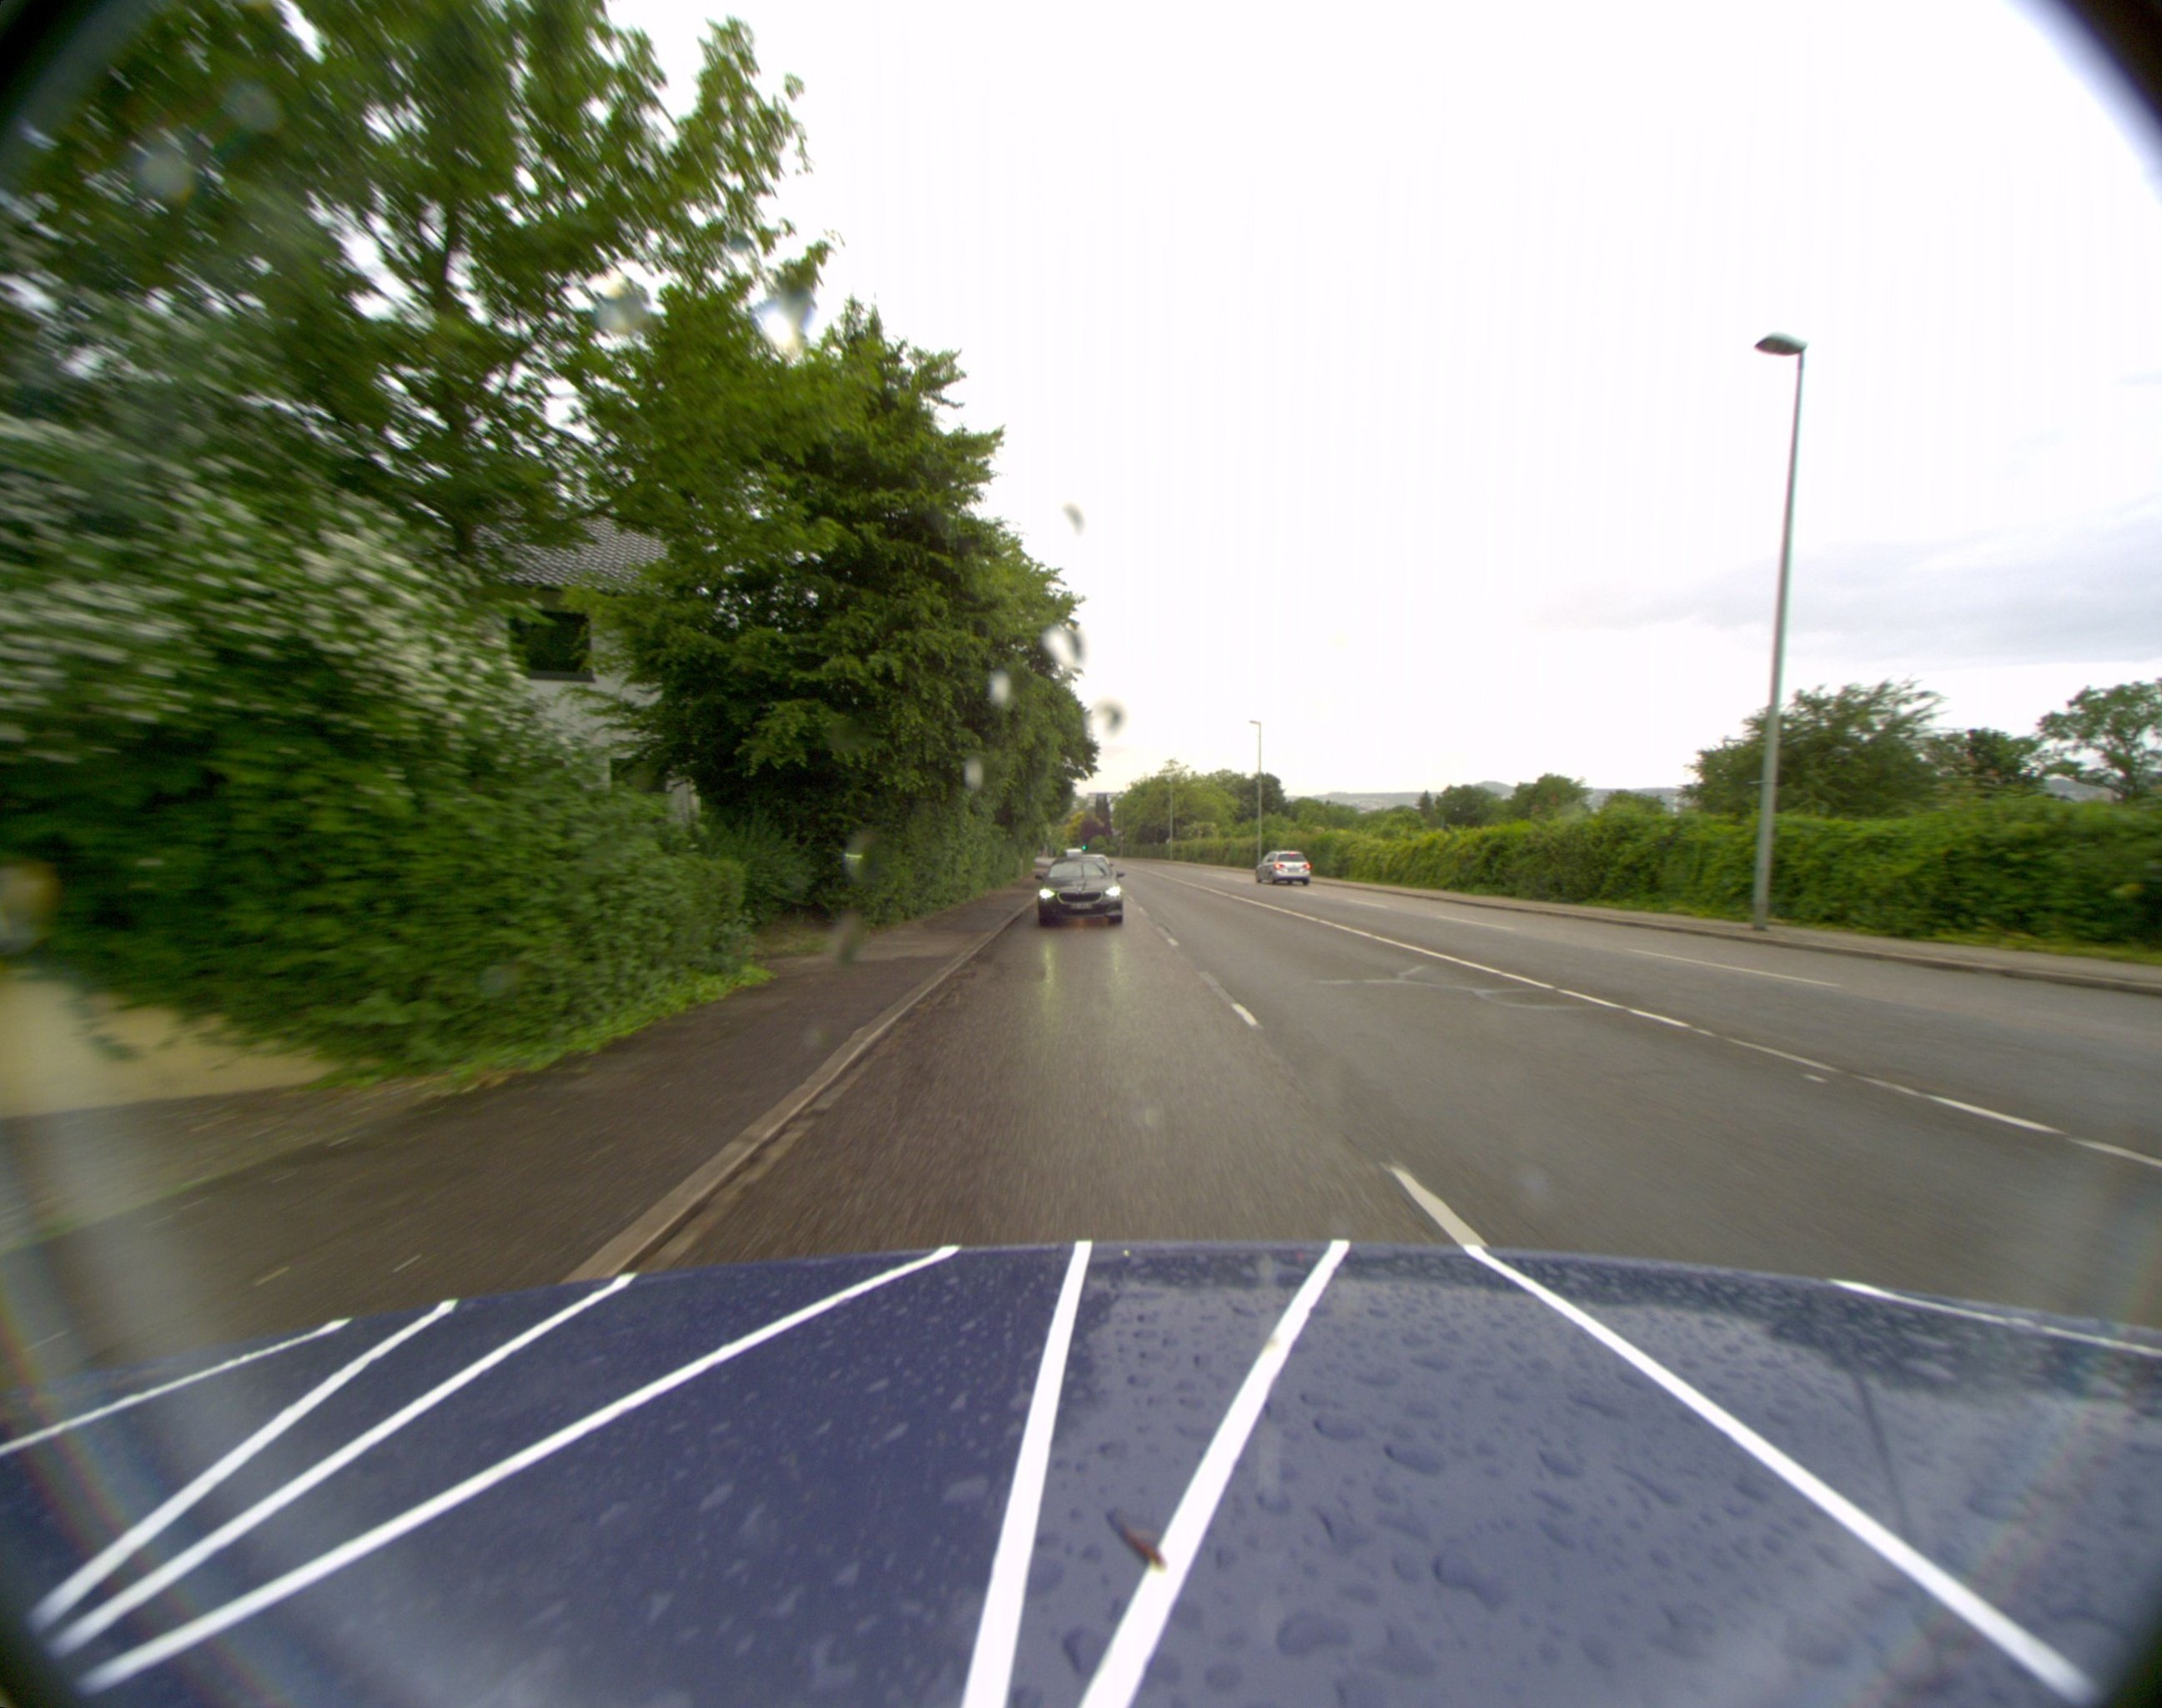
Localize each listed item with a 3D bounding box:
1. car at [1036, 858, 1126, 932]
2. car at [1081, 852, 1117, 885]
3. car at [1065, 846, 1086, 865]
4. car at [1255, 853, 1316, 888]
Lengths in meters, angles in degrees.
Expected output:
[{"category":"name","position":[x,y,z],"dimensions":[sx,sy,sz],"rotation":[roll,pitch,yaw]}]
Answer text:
[{"category":"car","position":[-0.100,0.875,18.186],"dimensions":[1.846,1.371,4.281],"rotation":[-2,1,-3]},{"category":"car","position":[0.846,0.685,38.010],"dimensions":[1.551,1.505,4.282],"rotation":[-1,1,-2]},{"category":"car","position":[-0.546,0.122,72.323],"dimensions":[1.703,1.670,4.281],"rotation":[-1,0,-5]},{"category":"car","position":[9.652,0.730,36.223],"dimensions":[1.761,1.559,3.999],"rotation":[0,0,-1]}]
